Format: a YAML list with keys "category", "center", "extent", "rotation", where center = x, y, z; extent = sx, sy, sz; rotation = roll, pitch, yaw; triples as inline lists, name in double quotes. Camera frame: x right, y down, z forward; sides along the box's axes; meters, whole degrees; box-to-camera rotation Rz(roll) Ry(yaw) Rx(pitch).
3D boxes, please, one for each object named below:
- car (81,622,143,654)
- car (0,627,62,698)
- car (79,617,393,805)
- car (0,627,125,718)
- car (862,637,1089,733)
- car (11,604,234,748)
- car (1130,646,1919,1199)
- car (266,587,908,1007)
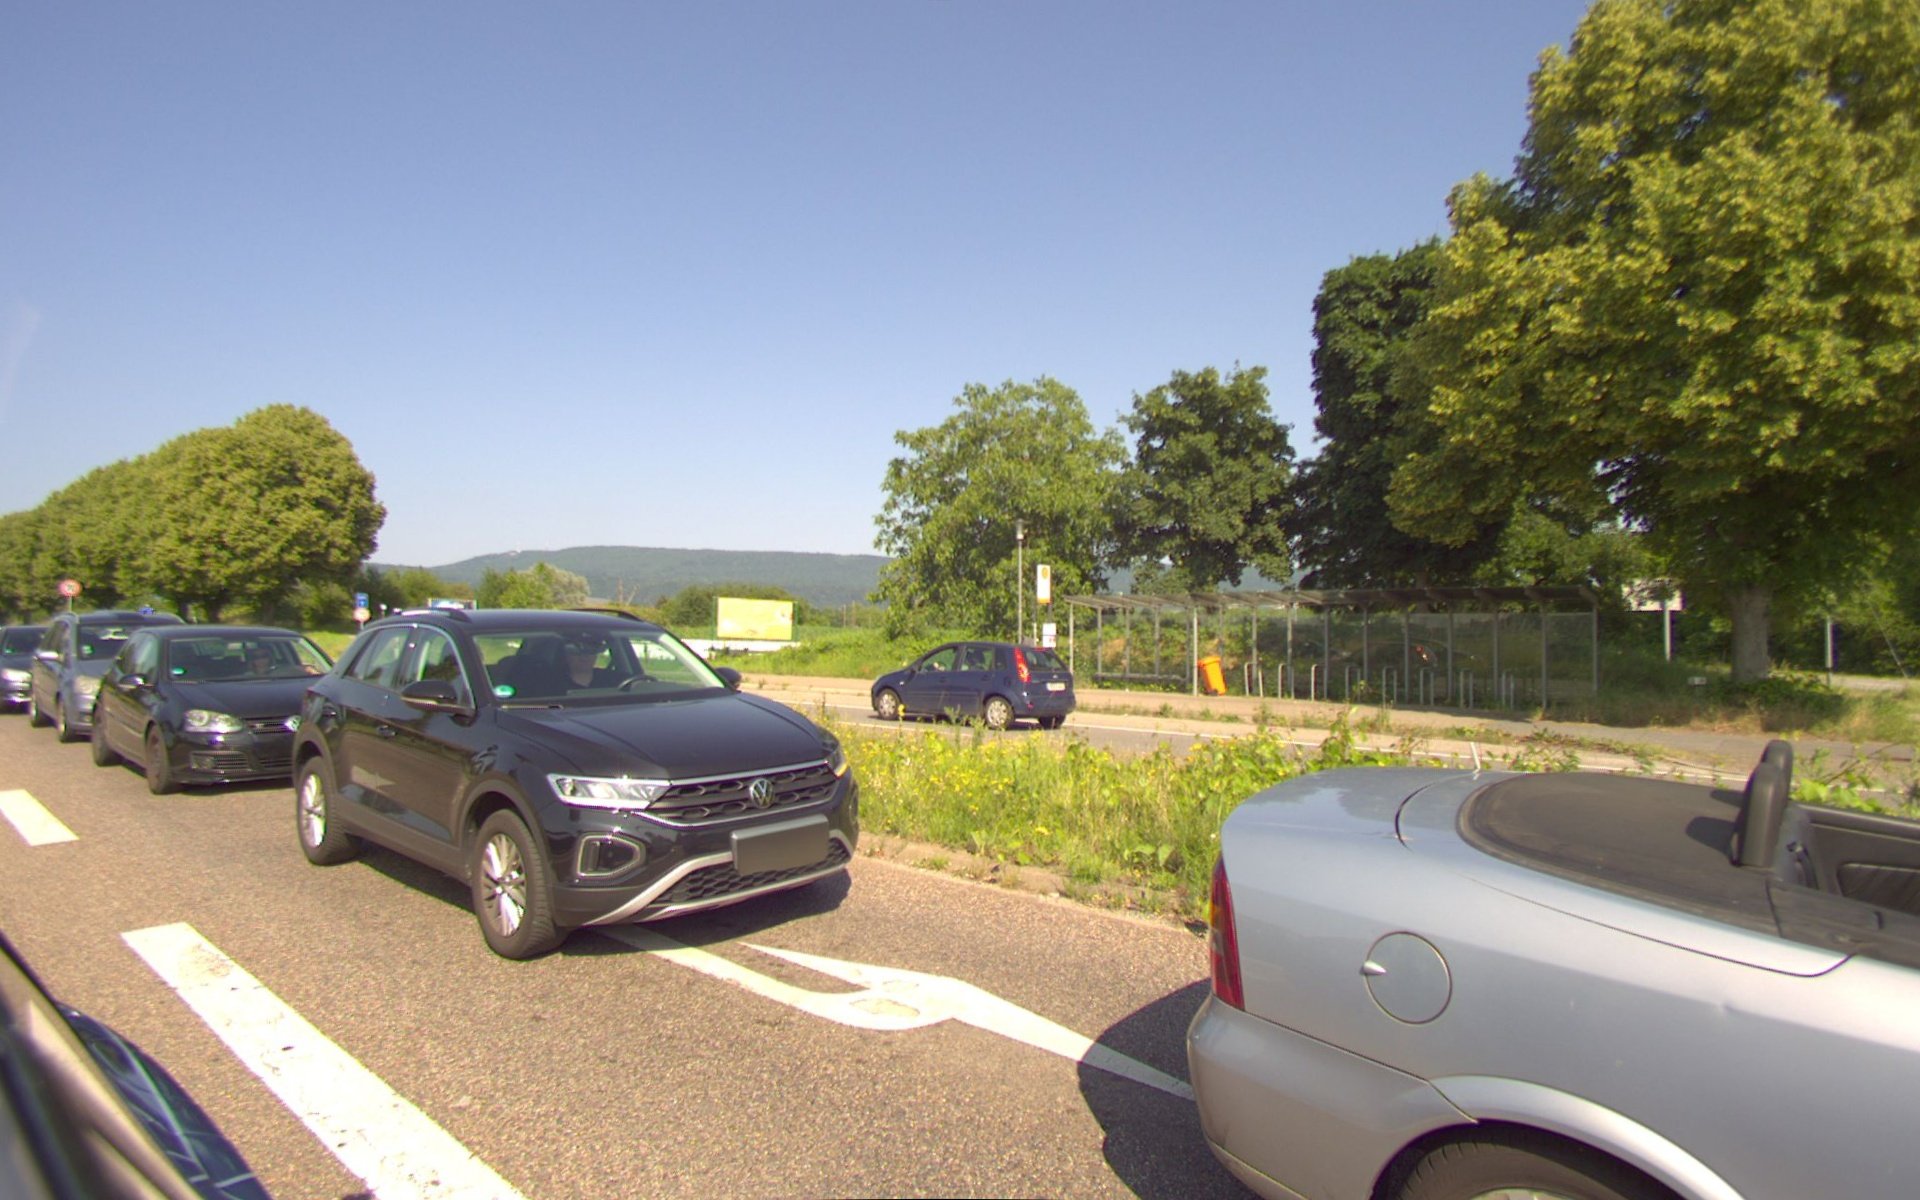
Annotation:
- category: "car"
  center: [-43.034, 1.931, 51.319]
  extent: [4.148, 1.527, 1.862]
  rotation: [-1, -4, 43]
- category: "car"
  center: [-21.394, 1.334, 22.329]
  extent: [4.639, 1.436, 1.784]
  rotation: [-1, -1, 41]
- category: "car"
  center: [-7.275, 0.937, 10.013]
  extent: [4.096, 1.486, 1.648]
  rotation: [-2, -2, 42]
- category: "car"
  center: [-16.212, 1.187, 17.803]
  extent: [4.353, 1.421, 1.696]
  rotation: [-1, -2, 42]
- category: "car"
  center: [0.198, 1.415, 17.519]
  extent: [3.774, 1.453, 1.597]
  rotation: [-1, -5, 41]
- category: "car"
  center: [-11.605, 0.939, 13.924]
  extent: [4.355, 1.685, 1.723]
  rotation: [-2, -2, 42]
- category: "car"
  center: [2.436, 0.769, 1.435]
  extent: [4.096, 1.345, 1.656]
  rotation: [-1, -3, 42]
- category: "car"
  center: [-2.352, 0.786, 5.778]
  extent: [4.096, 1.559, 1.710]
  rotation: [-2, -2, 42]
